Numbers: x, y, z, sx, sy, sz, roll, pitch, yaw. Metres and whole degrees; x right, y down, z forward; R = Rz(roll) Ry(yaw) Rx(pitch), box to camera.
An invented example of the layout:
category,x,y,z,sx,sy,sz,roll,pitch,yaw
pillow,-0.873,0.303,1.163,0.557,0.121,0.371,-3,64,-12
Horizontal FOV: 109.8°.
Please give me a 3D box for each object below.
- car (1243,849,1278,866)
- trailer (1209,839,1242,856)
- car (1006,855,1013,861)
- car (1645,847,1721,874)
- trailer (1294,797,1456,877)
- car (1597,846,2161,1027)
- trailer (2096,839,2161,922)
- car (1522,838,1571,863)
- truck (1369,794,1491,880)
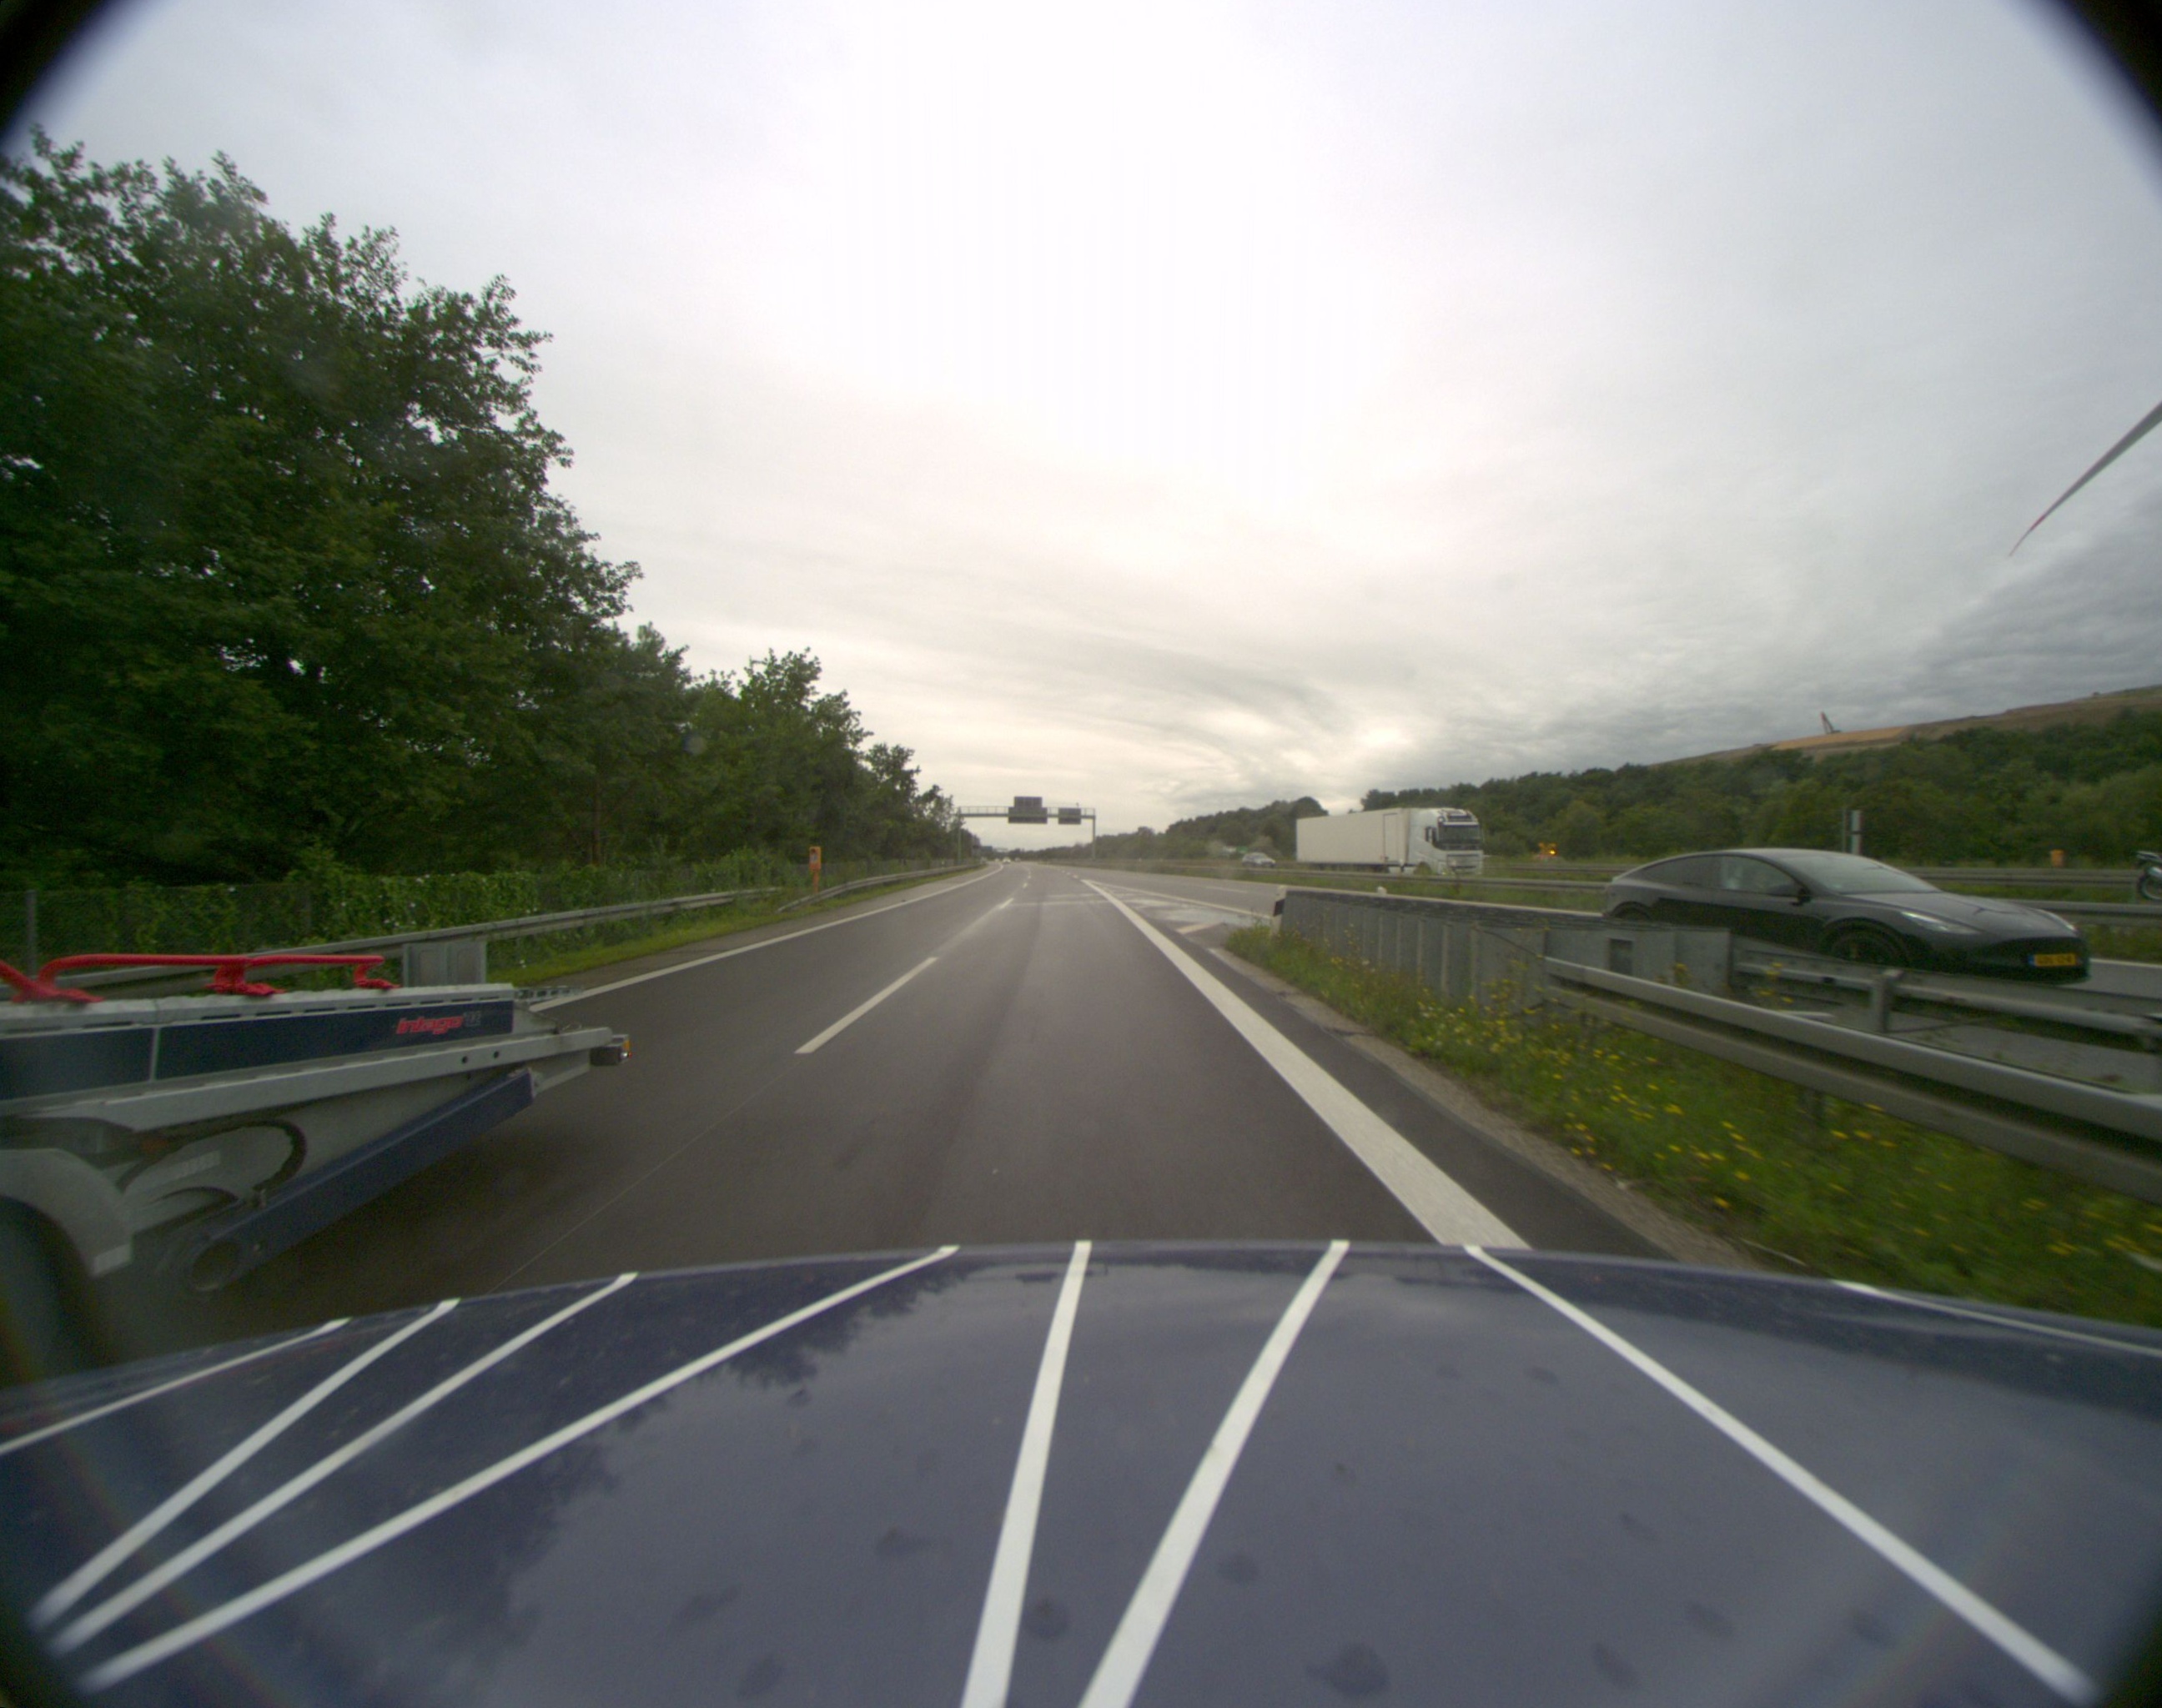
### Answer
category,x,y,z,sx,sy,sz,roll,pitch,yaw
car,17.925,0.322,76.091,1.905,1.641,4.481,-1,0,-9
trailer,30.014,-1.320,158.301,2.969,3.383,11.794,-1,0,-9
car,-19.513,1.129,207.397,1.631,1.632,3.773,-1,1,-9
car,41.485,0.422,52.470,1.857,1.718,3.997,-1,1,-5
trailer,17.265,-0.929,46.440,2.775,4.111,13.941,-1,0,-8
car,9.093,0.742,9.407,1.967,1.628,4.550,-1,1,-7
trailer,22.471,0.528,14.280,1.888,1.617,3.608,-1,1,-7
car,45.961,-0.324,75.142,2.029,2.362,3.997,-1,0,-8
truck,18.152,-0.850,39.988,2.775,4.111,6.440,-1,1,-8
